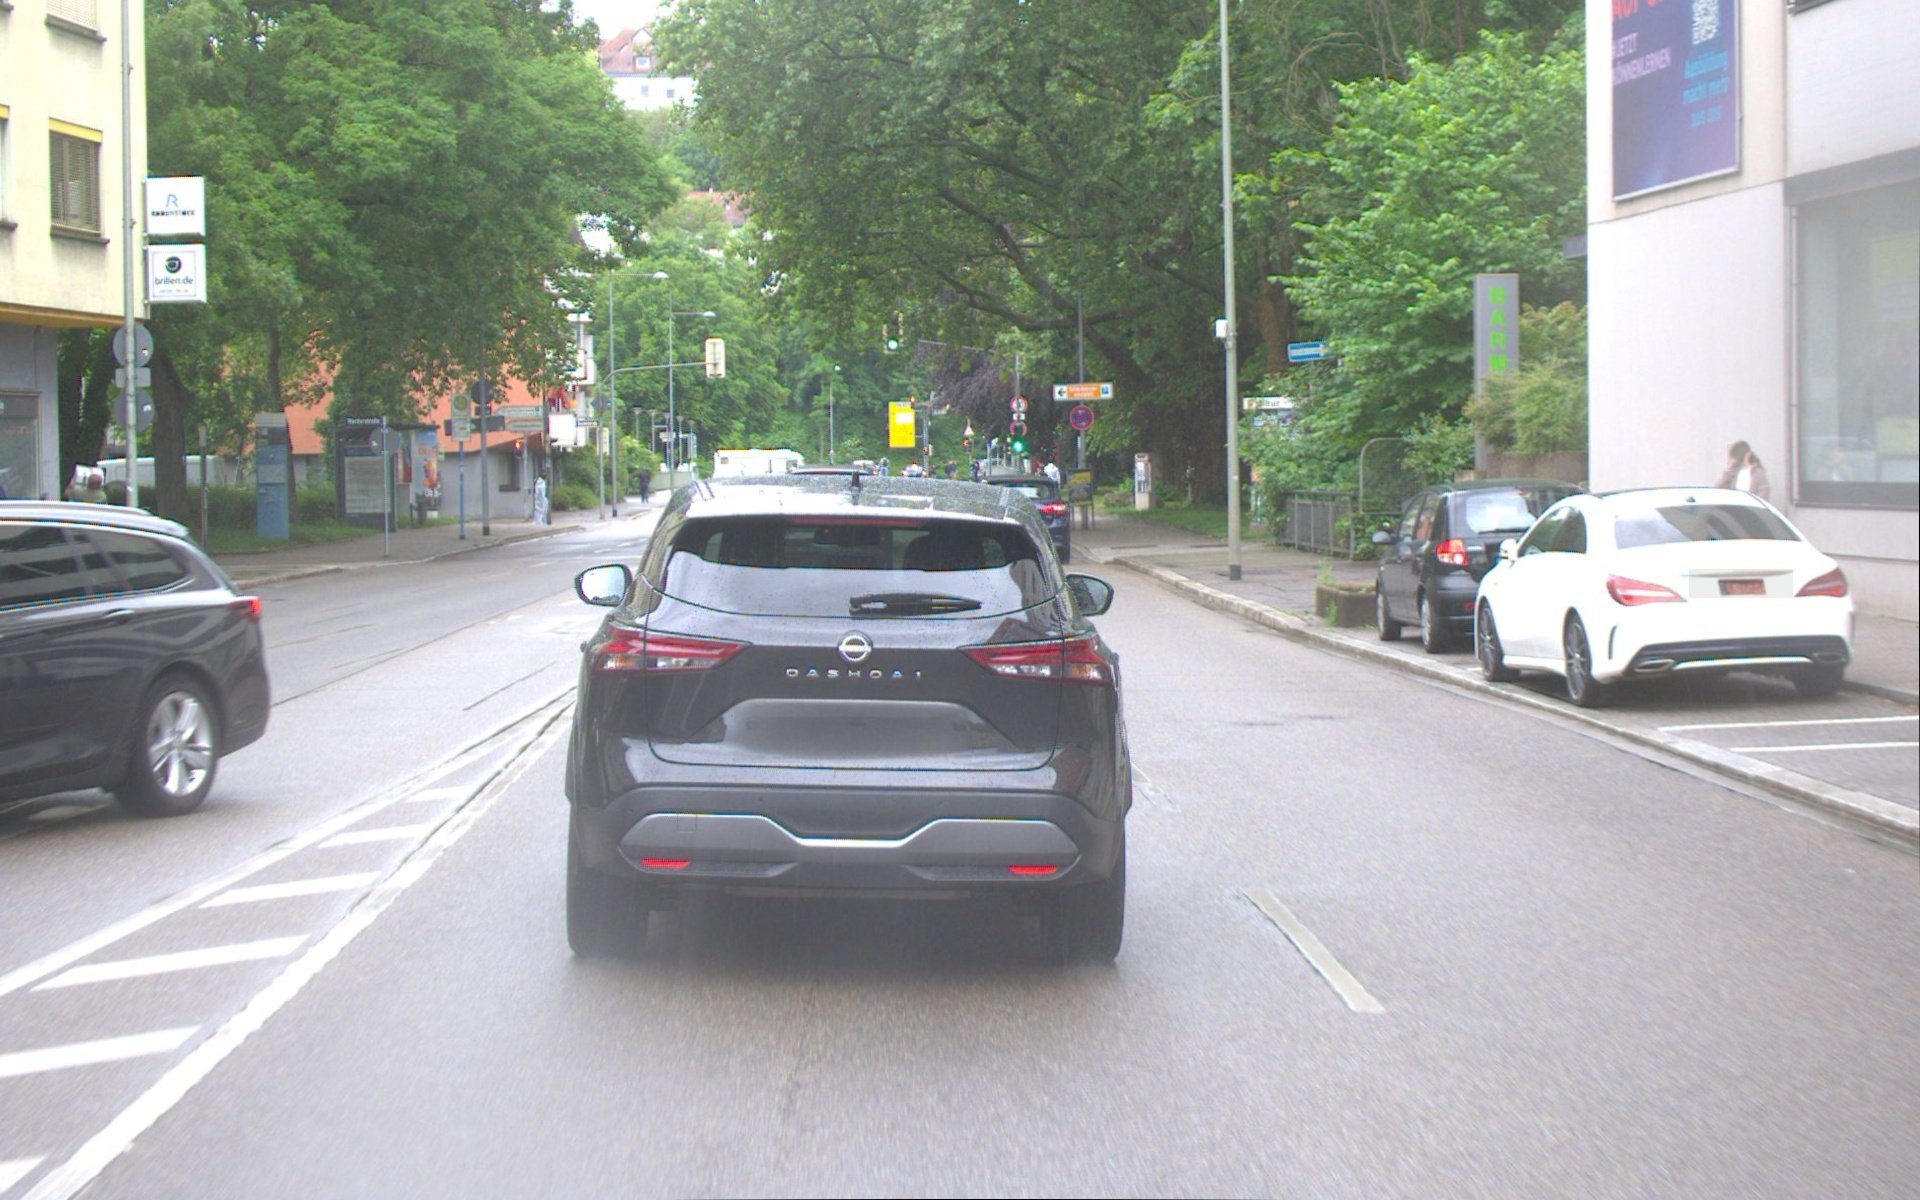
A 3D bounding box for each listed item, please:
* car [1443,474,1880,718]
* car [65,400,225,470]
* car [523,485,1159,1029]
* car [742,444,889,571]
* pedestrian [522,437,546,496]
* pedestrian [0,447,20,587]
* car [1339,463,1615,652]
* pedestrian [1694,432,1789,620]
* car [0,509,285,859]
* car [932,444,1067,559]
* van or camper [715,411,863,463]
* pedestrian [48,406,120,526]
[{"bbox_3d":[4.785,-0.110,24.138,1.774,1.396,4.581,-2,3,-4],"label":"car"},{"bbox_3d":[-21.471,-4.357,90.655,3.833,1.728,1.880,1,3,-4],"label":"car"},{"bbox_3d":[-0.478,0.420,12.331,1.894,1.623,4.001,1,2,-4],"label":"car"},{"bbox_3d":[-2.046,-1.369,49.678,1.945,1.679,4.001,-2,2,-1],"label":"car"},{"bbox_3d":[-13.175,-4.131,106.300,0.666,1.785,0.722,1,3,-9],"label":"pedestrian"},{"bbox_3d":[-12.663,-1.077,44.139,0.865,1.782,0.875,2,3,4],"label":"pedestrian"},{"bbox_3d":[4.520,-0.430,30.570,1.714,1.437,4.083,-2,3,-1],"label":"car"},{"bbox_3d":[7.353,-0.705,32.366,0.612,1.731,0.681,-3,3,-9],"label":"pedestrian"},{"bbox_3d":[-4.864,0.368,14.630,1.823,1.428,4.394,0,2,21],"label":"car"},{"bbox_3d":[0.642,-1.705,58.586,1.945,1.810,4.001,-2,2,-3],"label":"car"},{"bbox_3d":[-12.742,-12.171,256.385,10.928,3.545,3.185,1,3,-3],"label":"van or camper"},{"bbox_3d":[-12.353,-1.896,48.492,0.798,1.682,0.817,0,3,-3],"label":"pedestrian"}]
